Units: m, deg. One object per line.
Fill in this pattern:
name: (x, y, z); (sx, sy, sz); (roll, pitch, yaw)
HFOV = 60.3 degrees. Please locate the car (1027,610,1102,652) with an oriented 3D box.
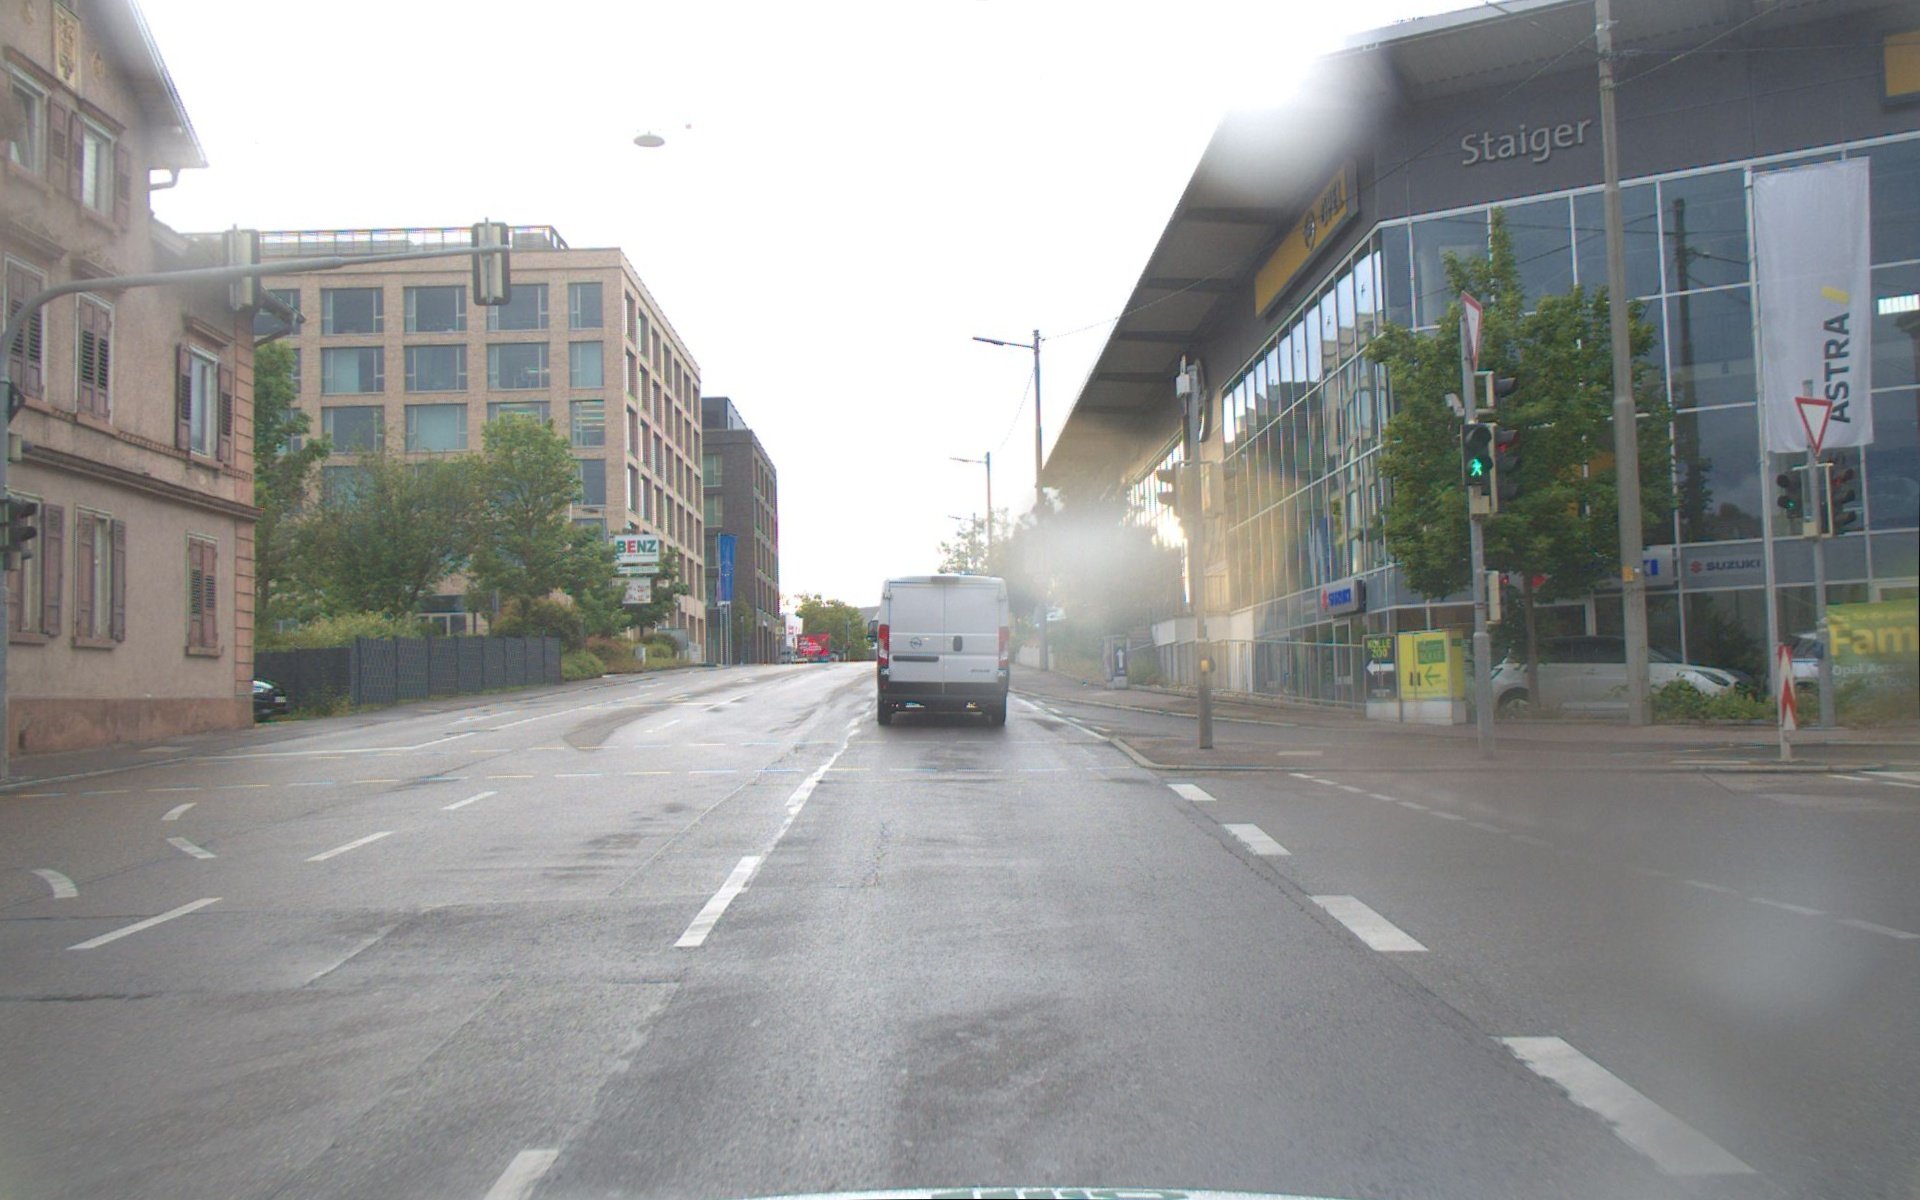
car: (4.725, 1.418, 74.338); (1.953, 1.740, 4.577); (-4, -3, 21)

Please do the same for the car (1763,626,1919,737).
car: (14.180, 1.188, 24.497); (3.914, 1.557, 1.821); (-4, -4, 31)

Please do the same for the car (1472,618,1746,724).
car: (10.411, 1.192, 26.548); (3.909, 1.535, 1.896); (-3, -6, 26)

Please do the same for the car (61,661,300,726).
car: (-15.199, 1.806, 32.403); (3.910, 1.183, 1.605); (0, -2, -6)

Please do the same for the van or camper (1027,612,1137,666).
van or camper: (6.481, 2.074, 88.381); (5.621, 2.772, 2.351); (-1, -2, -2)

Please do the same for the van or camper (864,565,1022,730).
van or camper: (-0.274, 0.777, 26.902); (2.292, 2.399, 5.198); (-1, -2, -1)
